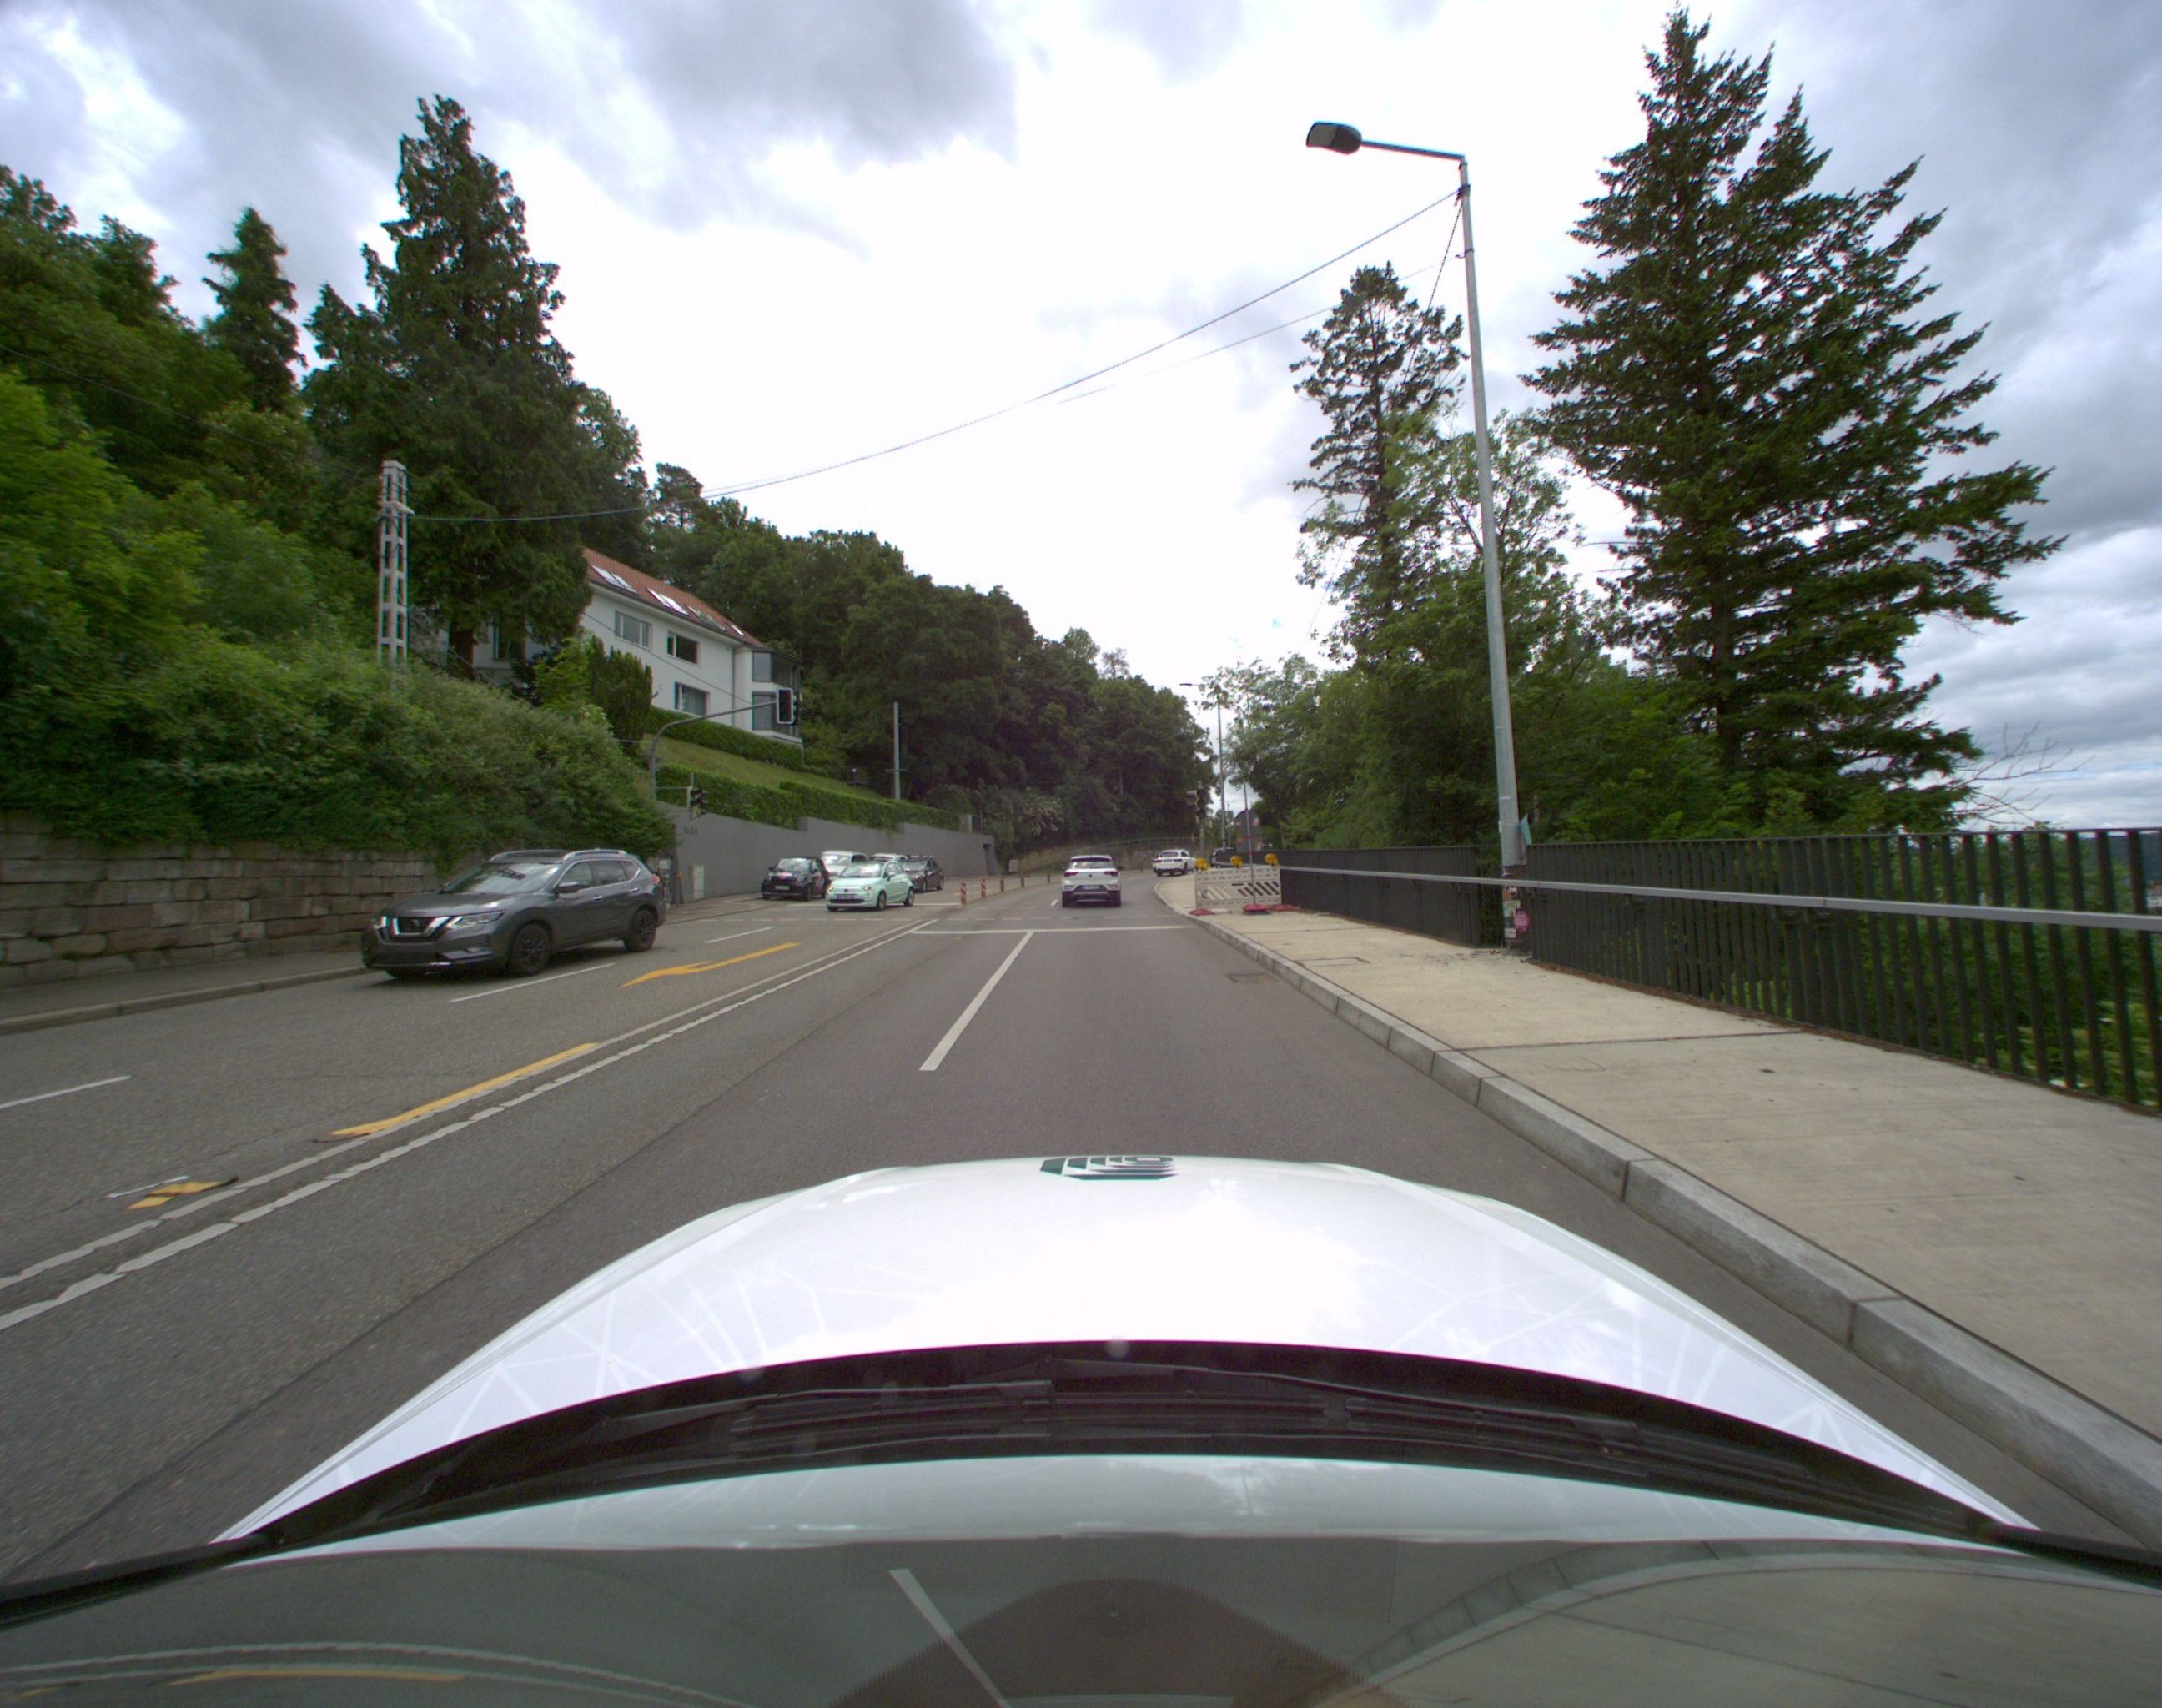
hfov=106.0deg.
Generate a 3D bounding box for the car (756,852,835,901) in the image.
[{"bbox_3d":[-10.301,0.781,29.605,1.705,1.573,2.959,2,1,1],"label":"car"}]

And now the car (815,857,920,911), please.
[{"bbox_3d":[-6.341,0.852,24.587,1.701,1.466,3.670,0,0,9],"label":"car"}]

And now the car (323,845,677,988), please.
[{"bbox_3d":[-8.177,0.761,12.176,1.877,1.697,4.671,-1,0,0],"label":"car"}]

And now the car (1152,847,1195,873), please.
[{"bbox_3d":[5.950,0.400,51.951,1.978,1.586,4.018,0,0,18],"label":"car"}]

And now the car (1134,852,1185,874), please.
[{"bbox_3d":[5.865,0.654,60.481,1.888,1.574,4.025,0,-1,39],"label":"car"}]

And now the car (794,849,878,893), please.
[{"bbox_3d":[-10.296,0.675,34.628,1.851,1.731,4.765,1,0,3],"label":"car"}]

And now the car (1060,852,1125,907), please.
[{"bbox_3d":[0.303,0.727,25.417,1.861,1.536,3.802,-1,0,-1],"label":"car"}]

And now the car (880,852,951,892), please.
[{"bbox_3d":[-7.135,0.764,35.599,1.701,1.598,4.216,-1,-1,8],"label":"car"}]

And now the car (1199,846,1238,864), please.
[{"bbox_3d":[11.887,0.096,70.319,1.974,1.541,4.035,0,-1,31],"label":"car"}]

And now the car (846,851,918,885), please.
[{"bbox_3d":[-9.769,0.658,40.368,1.821,1.572,4.487,0,0,10],"label":"car"}]
